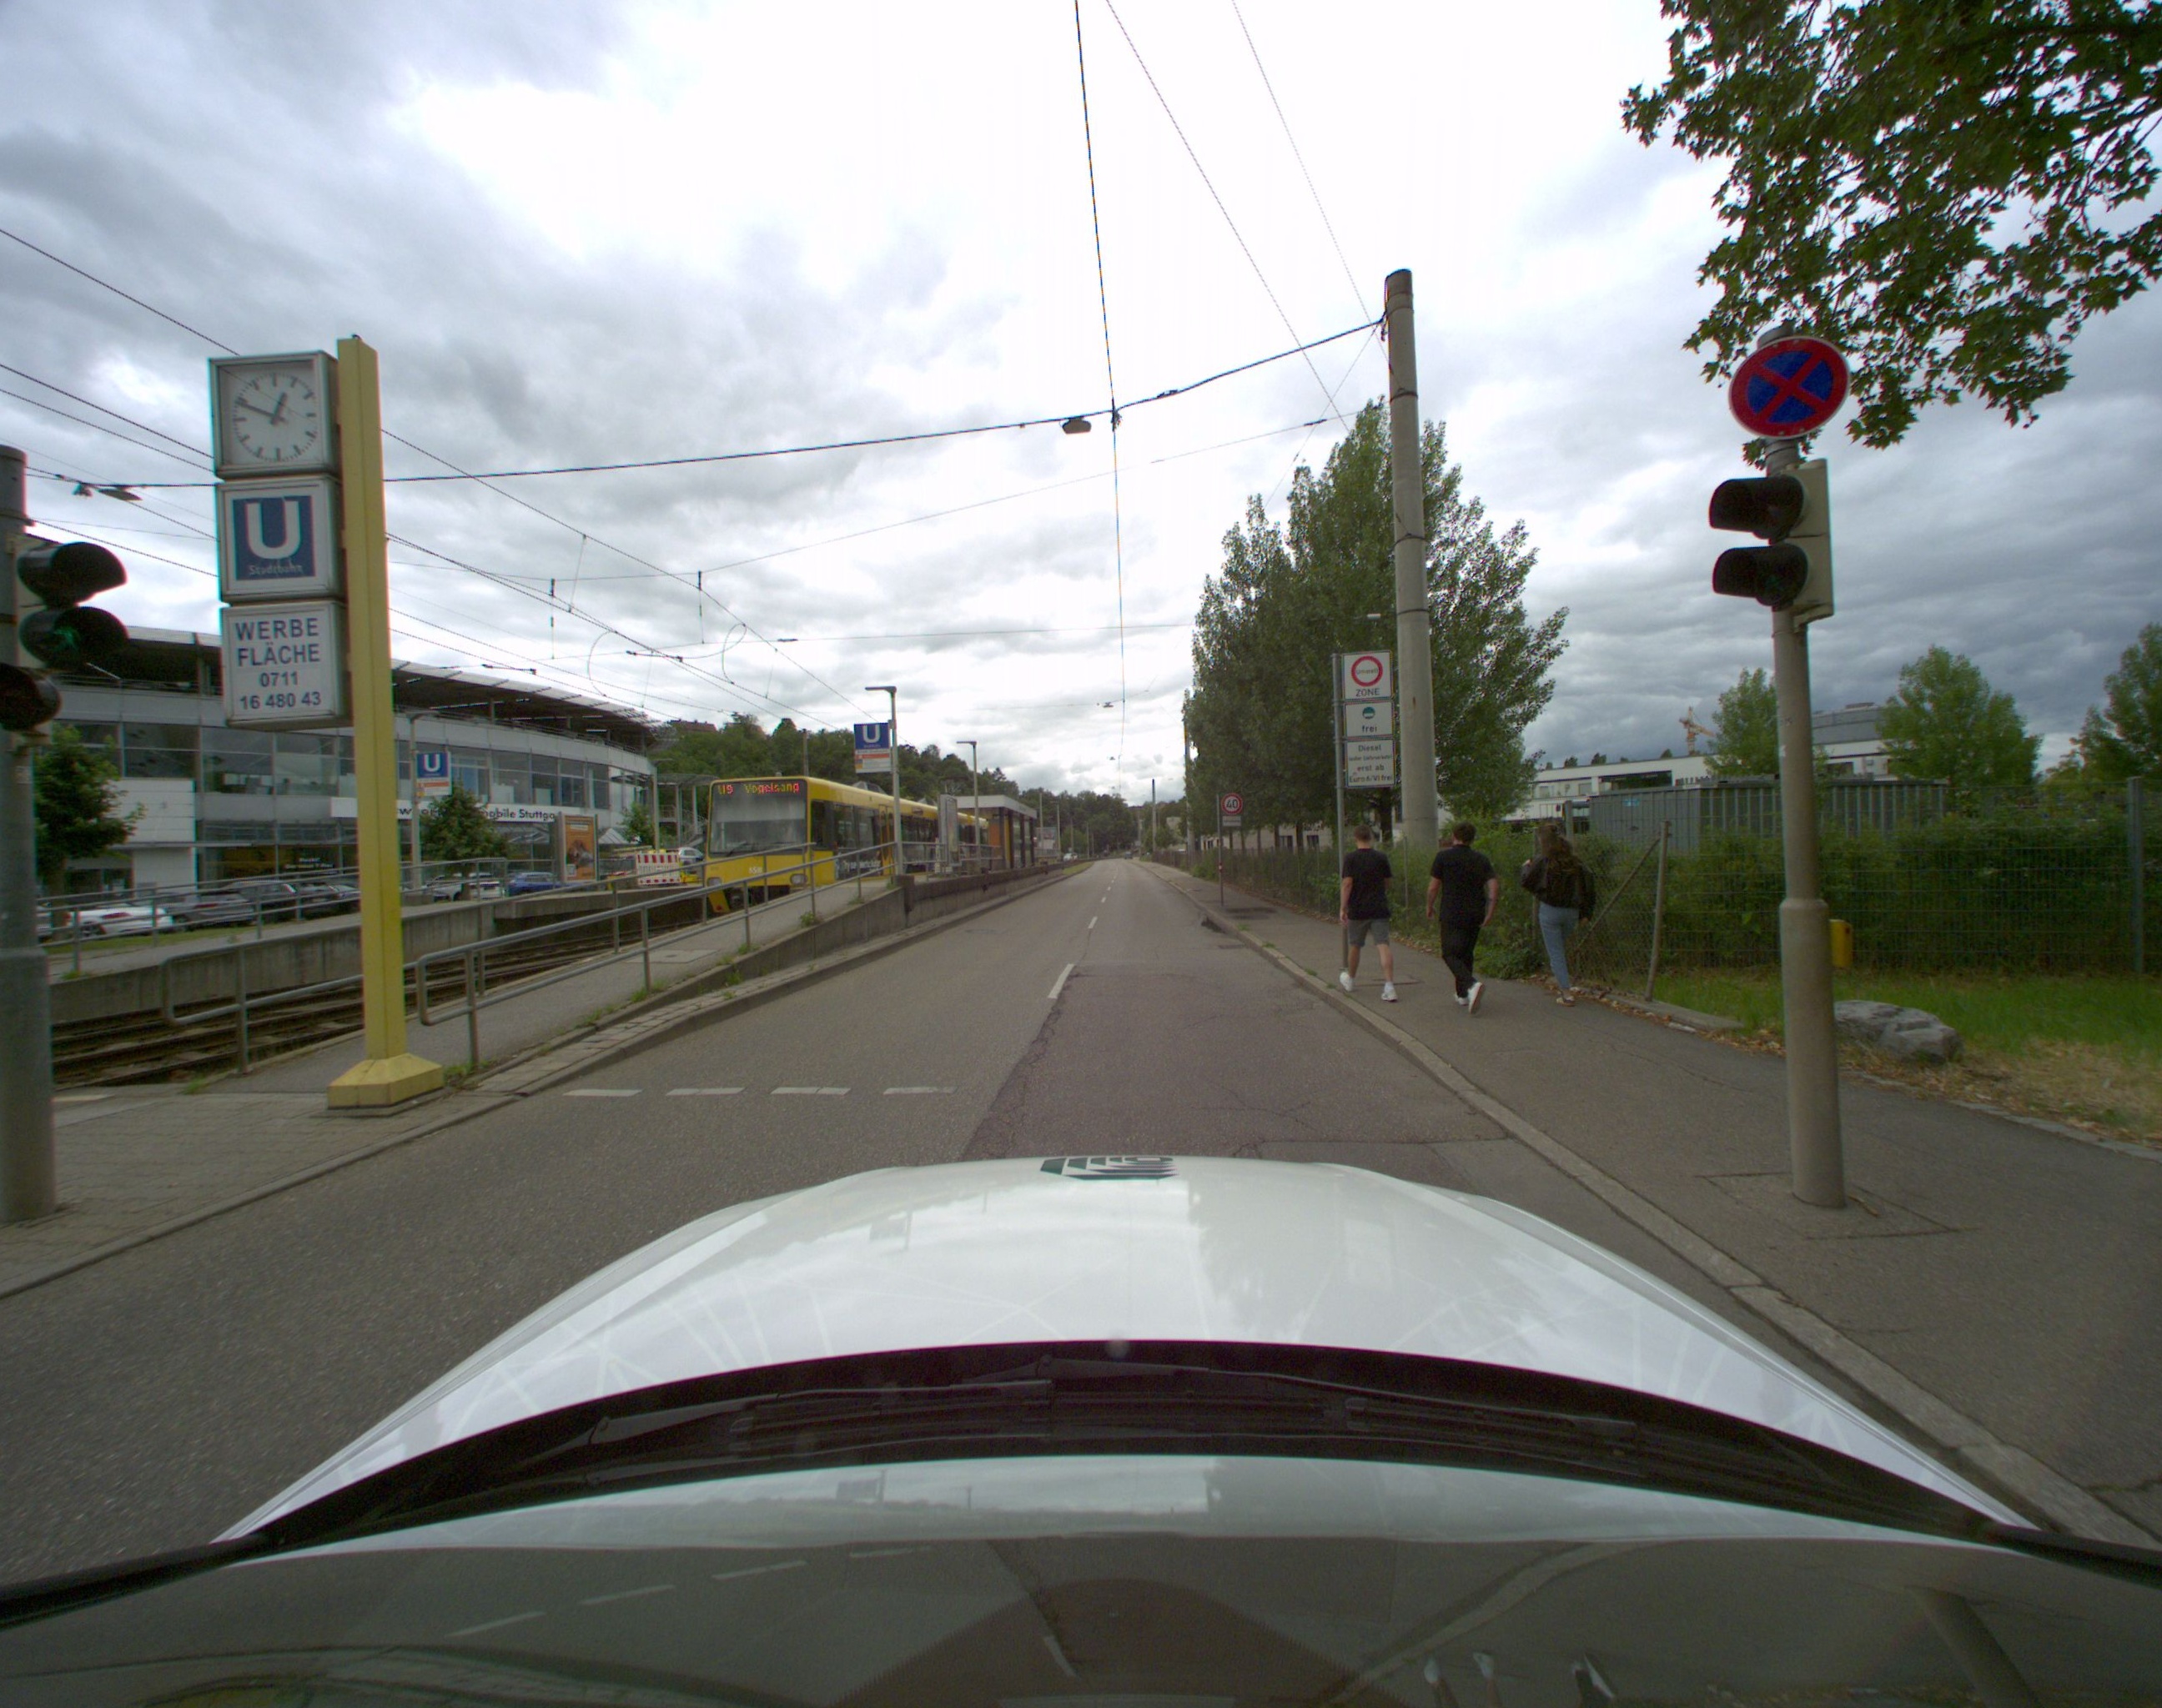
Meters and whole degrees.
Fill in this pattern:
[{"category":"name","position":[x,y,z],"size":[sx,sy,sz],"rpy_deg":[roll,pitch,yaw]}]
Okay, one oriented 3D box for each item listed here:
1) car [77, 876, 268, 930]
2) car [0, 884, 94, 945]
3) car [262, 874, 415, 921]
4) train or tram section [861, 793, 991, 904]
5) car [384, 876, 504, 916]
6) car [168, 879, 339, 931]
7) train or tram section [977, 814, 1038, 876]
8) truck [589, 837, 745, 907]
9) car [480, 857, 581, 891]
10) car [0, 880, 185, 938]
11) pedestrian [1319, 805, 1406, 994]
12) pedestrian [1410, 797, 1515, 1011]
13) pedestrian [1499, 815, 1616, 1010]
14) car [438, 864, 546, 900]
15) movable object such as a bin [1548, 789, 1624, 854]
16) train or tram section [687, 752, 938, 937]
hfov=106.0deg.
[{"category":"car","position":[-29.782,1.616,26.811],"size":[3.977,1.554,1.925],"rpy_deg":[-2,-3,-2]},{"category":"car","position":[-29.860,1.687,21.942],"size":[3.977,1.554,1.925],"rpy_deg":[-2,-3,-2]},{"category":"car","position":[-28.677,1.655,31.561],"size":[3.977,1.554,1.926],"rpy_deg":[-2,1,-2]},{"category":"train or tram section","position":[-6.349,-0.321,35.857],"size":[2.729,3.966,11.921],"rpy_deg":[-2,1,3]},{"category":"car","position":[-28.740,1.880,36.795],"size":[3.966,1.554,1.931],"rpy_deg":[-3,1,6]},{"category":"car","position":[-29.504,1.803,29.143],"size":[3.977,1.554,1.926],"rpy_deg":[-2,1,-2]},{"category":"train or tram section","position":[-5.191,-0.702,59.726],"size":[2.959,4.065,10.204],"rpy_deg":[-2,1,3]},{"category":"truck","position":[-20.912,0.808,41.963],"size":[2.682,3.078,9.019],"rpy_deg":[-2,0,5]},{"category":"car","position":[-28.105,1.043,41.666],"size":[3.966,1.554,1.930],"rpy_deg":[-3,-3,6]},{"category":"car","position":[-29.991,1.649,24.500],"size":[3.977,1.554,1.727],"rpy_deg":[-2,-3,-2]},{"category":"pedestrian","position":[2.900,0.469,8.461],"size":[0.600,1.868,0.672],"rpy_deg":[-2,-4,4]},{"category":"pedestrian","position":[3.515,0.445,7.553],"size":[0.600,1.867,0.672],"rpy_deg":[-2,-1,4]},{"category":"pedestrian","position":[4.362,0.527,7.504],"size":[0.600,1.690,0.672],"rpy_deg":[-2,-4,4]},{"category":"car","position":[-28.584,1.369,39.594],"size":[3.966,1.554,1.930],"rpy_deg":[-3,-3,6]},{"category":"movable object such as a bin","position":[18.864,-1.125,30.626],"size":[1.975,2.014,4.320],"rpy_deg":[-4,-4,27]},{"category":"train or tram section","position":[-6.951,-0.324,23.892],"size":[2.729,3.966,11.921],"rpy_deg":[-2,1,3]}]
